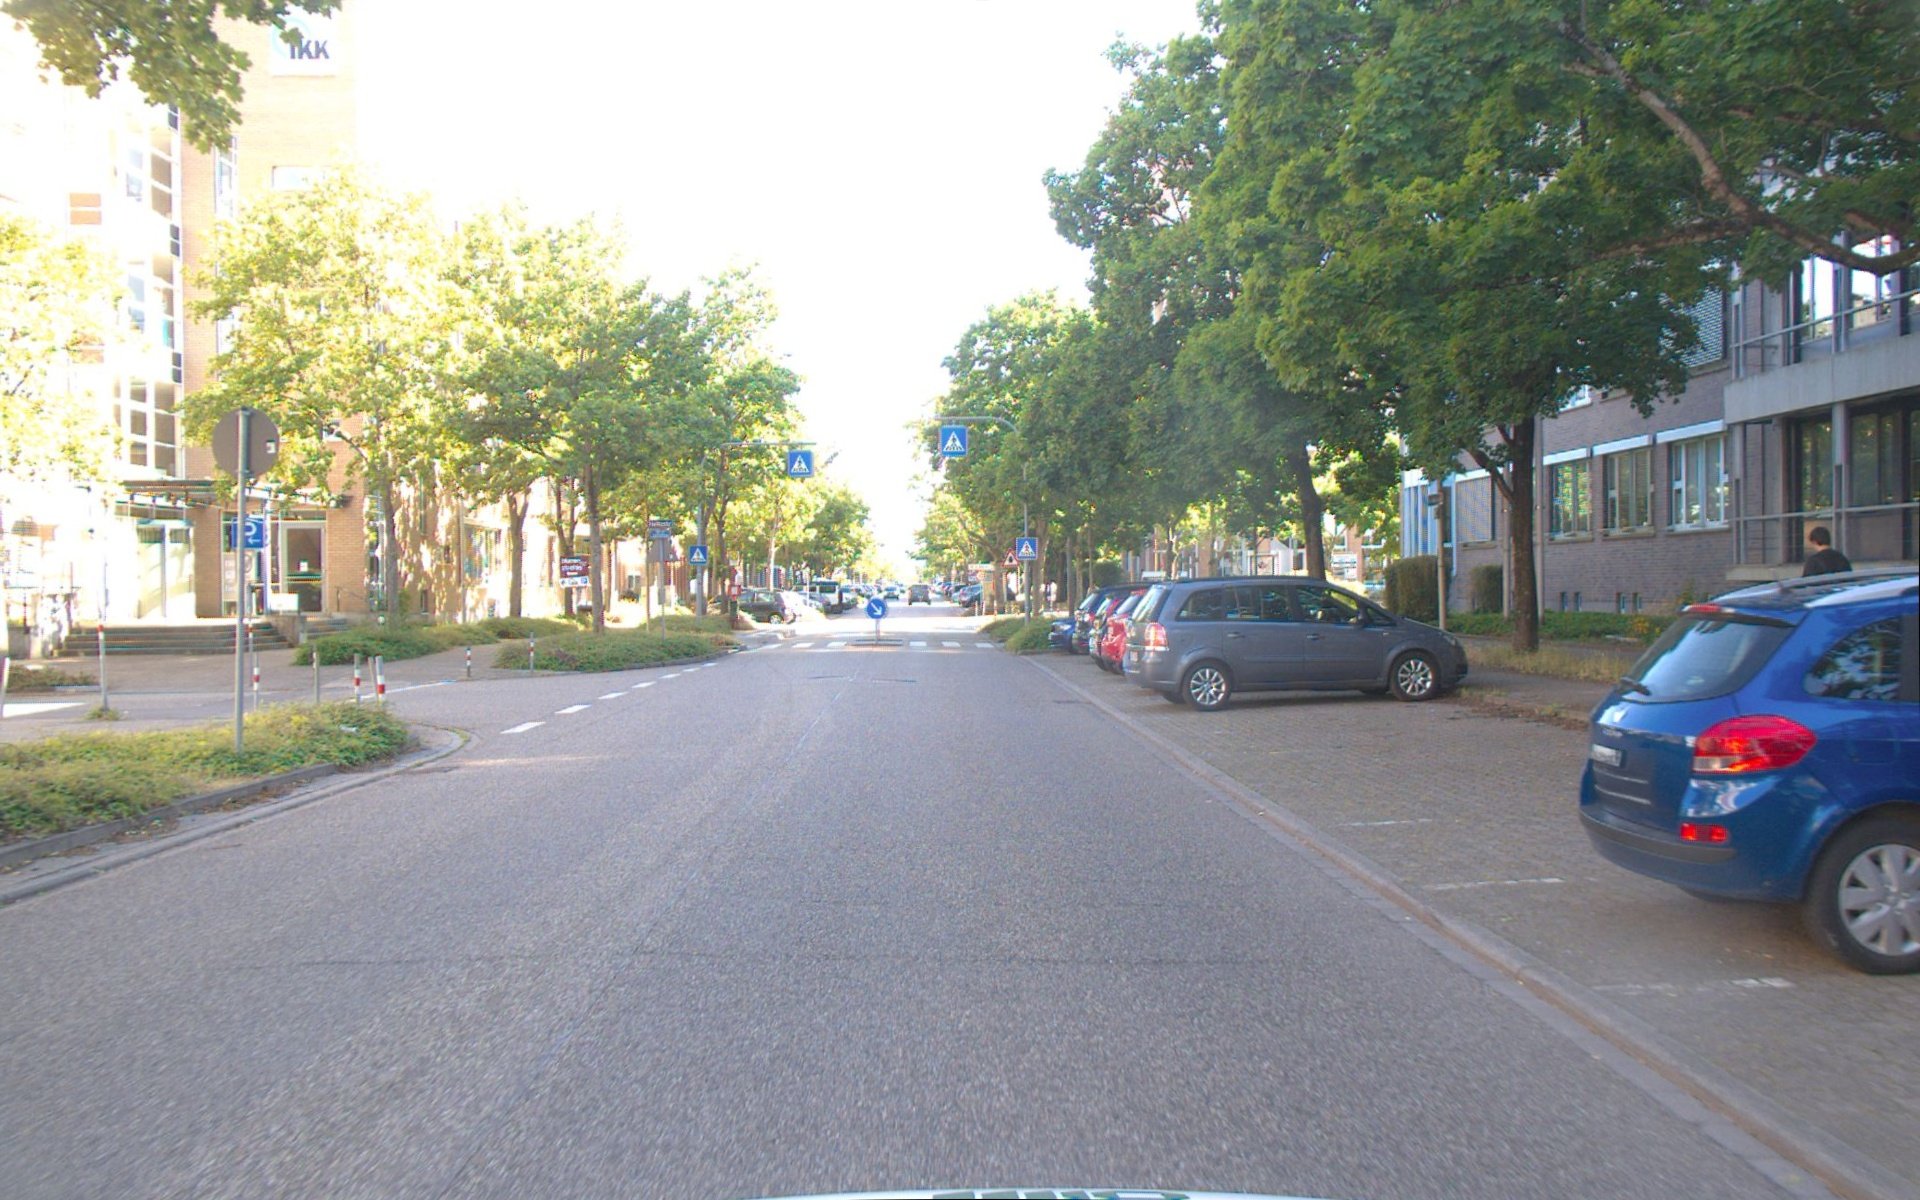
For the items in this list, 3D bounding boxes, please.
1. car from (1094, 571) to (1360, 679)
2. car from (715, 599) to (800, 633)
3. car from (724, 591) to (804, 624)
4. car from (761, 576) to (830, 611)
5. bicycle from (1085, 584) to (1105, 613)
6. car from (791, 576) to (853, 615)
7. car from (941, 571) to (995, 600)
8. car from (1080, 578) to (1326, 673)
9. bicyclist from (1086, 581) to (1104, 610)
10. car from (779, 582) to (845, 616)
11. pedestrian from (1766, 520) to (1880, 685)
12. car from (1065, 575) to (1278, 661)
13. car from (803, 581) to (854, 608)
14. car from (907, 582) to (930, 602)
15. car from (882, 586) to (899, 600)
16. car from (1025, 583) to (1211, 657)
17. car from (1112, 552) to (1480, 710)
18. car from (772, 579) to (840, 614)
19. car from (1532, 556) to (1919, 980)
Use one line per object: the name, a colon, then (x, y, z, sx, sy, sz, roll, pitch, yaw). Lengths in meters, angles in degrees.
car: (4.471, 0.406, 28.070, 4.109, 1.562, 1.811, -3, 0, -5)
car: (-9.242, 0.711, 75.477, 3.776, 1.499, 1.810, 1, 0, -8)
car: (-9.477, 0.355, 79.997, 3.776, 1.499, 1.810, 1, 0, -8)
car: (-9.956, -0.400, 100.311, 3.904, 2.049, 2.001, -2, 0, 2)
bicycle: (5.808, -0.076, 70.981, 0.669, 1.236, 1.978, -1, 0, 9)
car: (-9.231, -0.318, 110.938, 3.903, 2.586, 1.863, 0, 0, 3)
car: (0.588, -1.106, 125.658, 3.908, 2.049, 1.999, -1, 0, -3)
car: (4.380, 0.447, 30.211, 4.109, 1.473, 1.811, -3, 0, -5)
bicyclist: (5.803, -0.198, 70.976, 0.683, 1.236, 0.946, -1, 0, 9)
car: (-9.438, -0.070, 105.856, 3.904, 2.049, 2.001, -2, 0, 2)
pedestrian: (9.703, 0.023, 18.631, 0.595, 1.776, 1.191, -1, 0, -2)
car: (4.409, 0.368, 34.812, 4.109, 1.562, 1.811, -3, 0, -5)
car: (-10.336, -0.447, 130.167, 3.908, 2.049, 1.999, -1, 0, -3)
car: (-3.611, -0.662, 143.377, 1.953, 1.668, 3.999, 1, 0, -2)
car: (-7.689, -0.766, 182.849, 1.777, 1.551, 3.999, -1, 0, -1)
car: (3.724, 0.459, 39.451, 4.109, 1.498, 1.811, -3, 0, -5)
car: (4.251, 0.367, 21.324, 4.266, 1.733, 1.811, -3, 0, -5)
car: (-9.578, -0.201, 102.868, 3.904, 2.049, 2.001, -2, 0, 2)
car: (4.747, 0.559, 7.153, 3.869, 1.541, 1.812, -3, 0, 0)
